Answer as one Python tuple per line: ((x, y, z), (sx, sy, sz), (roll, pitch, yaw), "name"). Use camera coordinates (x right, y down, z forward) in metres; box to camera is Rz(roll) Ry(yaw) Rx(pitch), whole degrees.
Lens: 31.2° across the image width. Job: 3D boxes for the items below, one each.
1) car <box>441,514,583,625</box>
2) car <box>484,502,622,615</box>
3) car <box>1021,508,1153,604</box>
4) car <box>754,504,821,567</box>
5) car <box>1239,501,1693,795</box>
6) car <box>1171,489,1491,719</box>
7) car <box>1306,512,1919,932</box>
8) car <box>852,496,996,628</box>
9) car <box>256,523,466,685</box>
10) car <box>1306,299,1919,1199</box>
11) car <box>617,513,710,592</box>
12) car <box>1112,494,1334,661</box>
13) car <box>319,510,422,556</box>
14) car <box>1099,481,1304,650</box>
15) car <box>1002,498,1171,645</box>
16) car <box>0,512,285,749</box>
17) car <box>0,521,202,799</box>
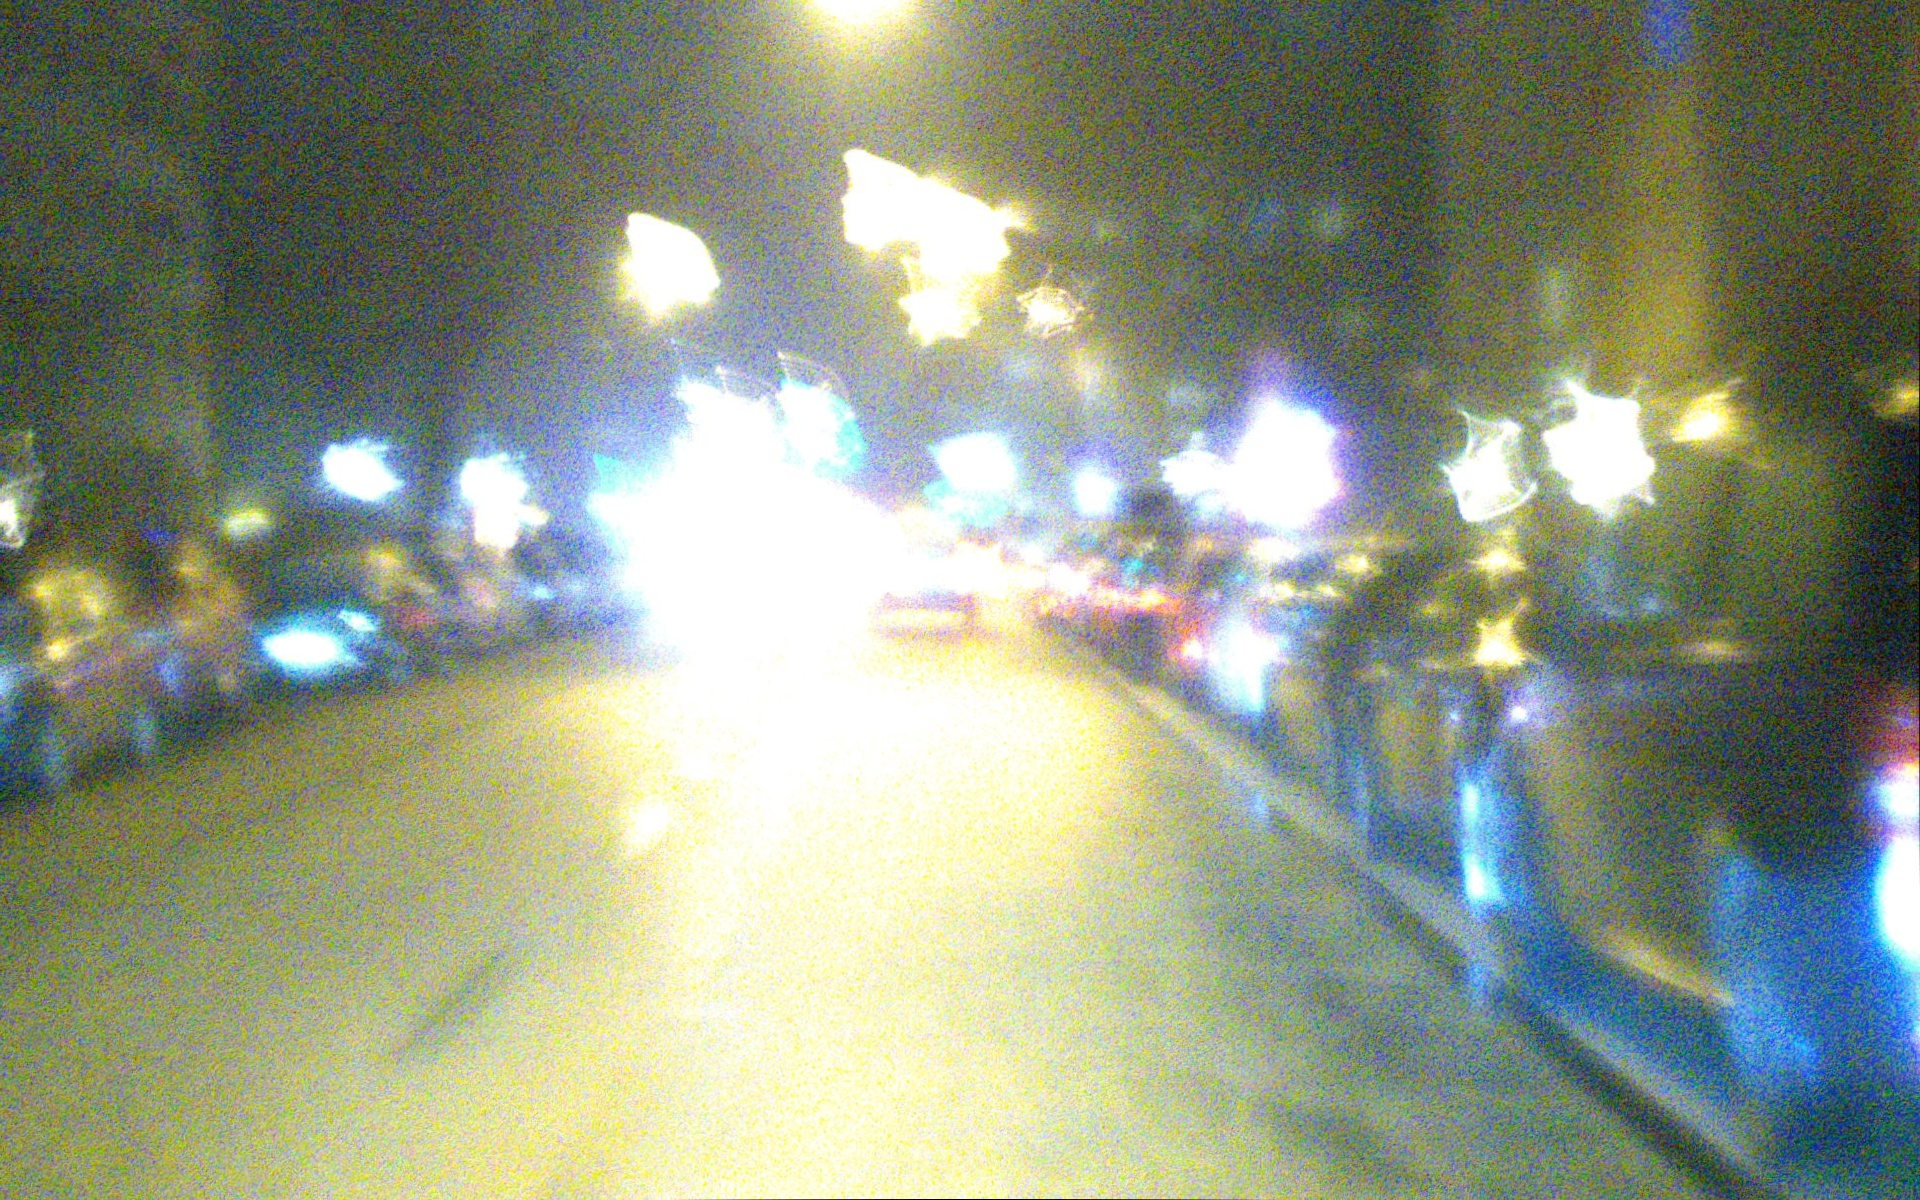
((-6.502, -0.476, 50.210), (1.598, 1.426, 4.005), (-5, 2, -2), "car")
((-6.452, -0.700, 54.861), (1.598, 1.599, 4.259), (-5, 2, 0), "car")
((2.033, -0.752, 56.291), (1.822, 1.417, 4.489), (-3, 2, -1), "car")
((-6.017, -2.268, 119.517), (2.034, 1.946, 5.201), (-4, 3, -4), "car")
((2.826, 0.192, 20.133), (1.795, 1.442, 4.280), (-3, 2, -2), "car")
((2.661, -0.034, 25.556), (1.674, 1.482, 4.280), (-3, 2, -2), "car")
((2.772, 0.408, 15.103), (1.795, 1.486, 4.130), (-3, 2, -3), "car")
((-0.579, -0.655, 55.907), (2.168, 1.965, 4.302), (-3, 2, 0), "car")
((-6.156, 0.003, 35.620), (1.431, 1.455, 3.374), (-5, 2, 1), "car")
((2.383, 0.265, 9.739), (1.795, 1.943, 5.855), (-3, 2, -3), "car")
((-6.549, -1.077, 76.320), (1.598, 1.558, 4.380), (-5, 2, 0), "car")
((2.244, -0.236, 30.075), (1.456, 1.301, 3.629), (-3, 2, -2), "car")
((-19.857, -2.265, 115.929), (1.715, 1.426, 3.916), (-1, 2, 19), "car")
((2.438, -0.411, 35.764), (1.754, 1.542, 4.978), (-3, 2, 1), "car")
((1.487, -0.384, 40.820), (1.824, 1.542, 4.352), (-3, 2, 2), "car")
((-6.505, 0.176, 27.127), (1.746, 1.592, 4.392), (-5, 2, -5), "car")
((-6.086, 0.346, 21.696), (1.665, 1.534, 4.391), (-5, 2, -2), "car")
